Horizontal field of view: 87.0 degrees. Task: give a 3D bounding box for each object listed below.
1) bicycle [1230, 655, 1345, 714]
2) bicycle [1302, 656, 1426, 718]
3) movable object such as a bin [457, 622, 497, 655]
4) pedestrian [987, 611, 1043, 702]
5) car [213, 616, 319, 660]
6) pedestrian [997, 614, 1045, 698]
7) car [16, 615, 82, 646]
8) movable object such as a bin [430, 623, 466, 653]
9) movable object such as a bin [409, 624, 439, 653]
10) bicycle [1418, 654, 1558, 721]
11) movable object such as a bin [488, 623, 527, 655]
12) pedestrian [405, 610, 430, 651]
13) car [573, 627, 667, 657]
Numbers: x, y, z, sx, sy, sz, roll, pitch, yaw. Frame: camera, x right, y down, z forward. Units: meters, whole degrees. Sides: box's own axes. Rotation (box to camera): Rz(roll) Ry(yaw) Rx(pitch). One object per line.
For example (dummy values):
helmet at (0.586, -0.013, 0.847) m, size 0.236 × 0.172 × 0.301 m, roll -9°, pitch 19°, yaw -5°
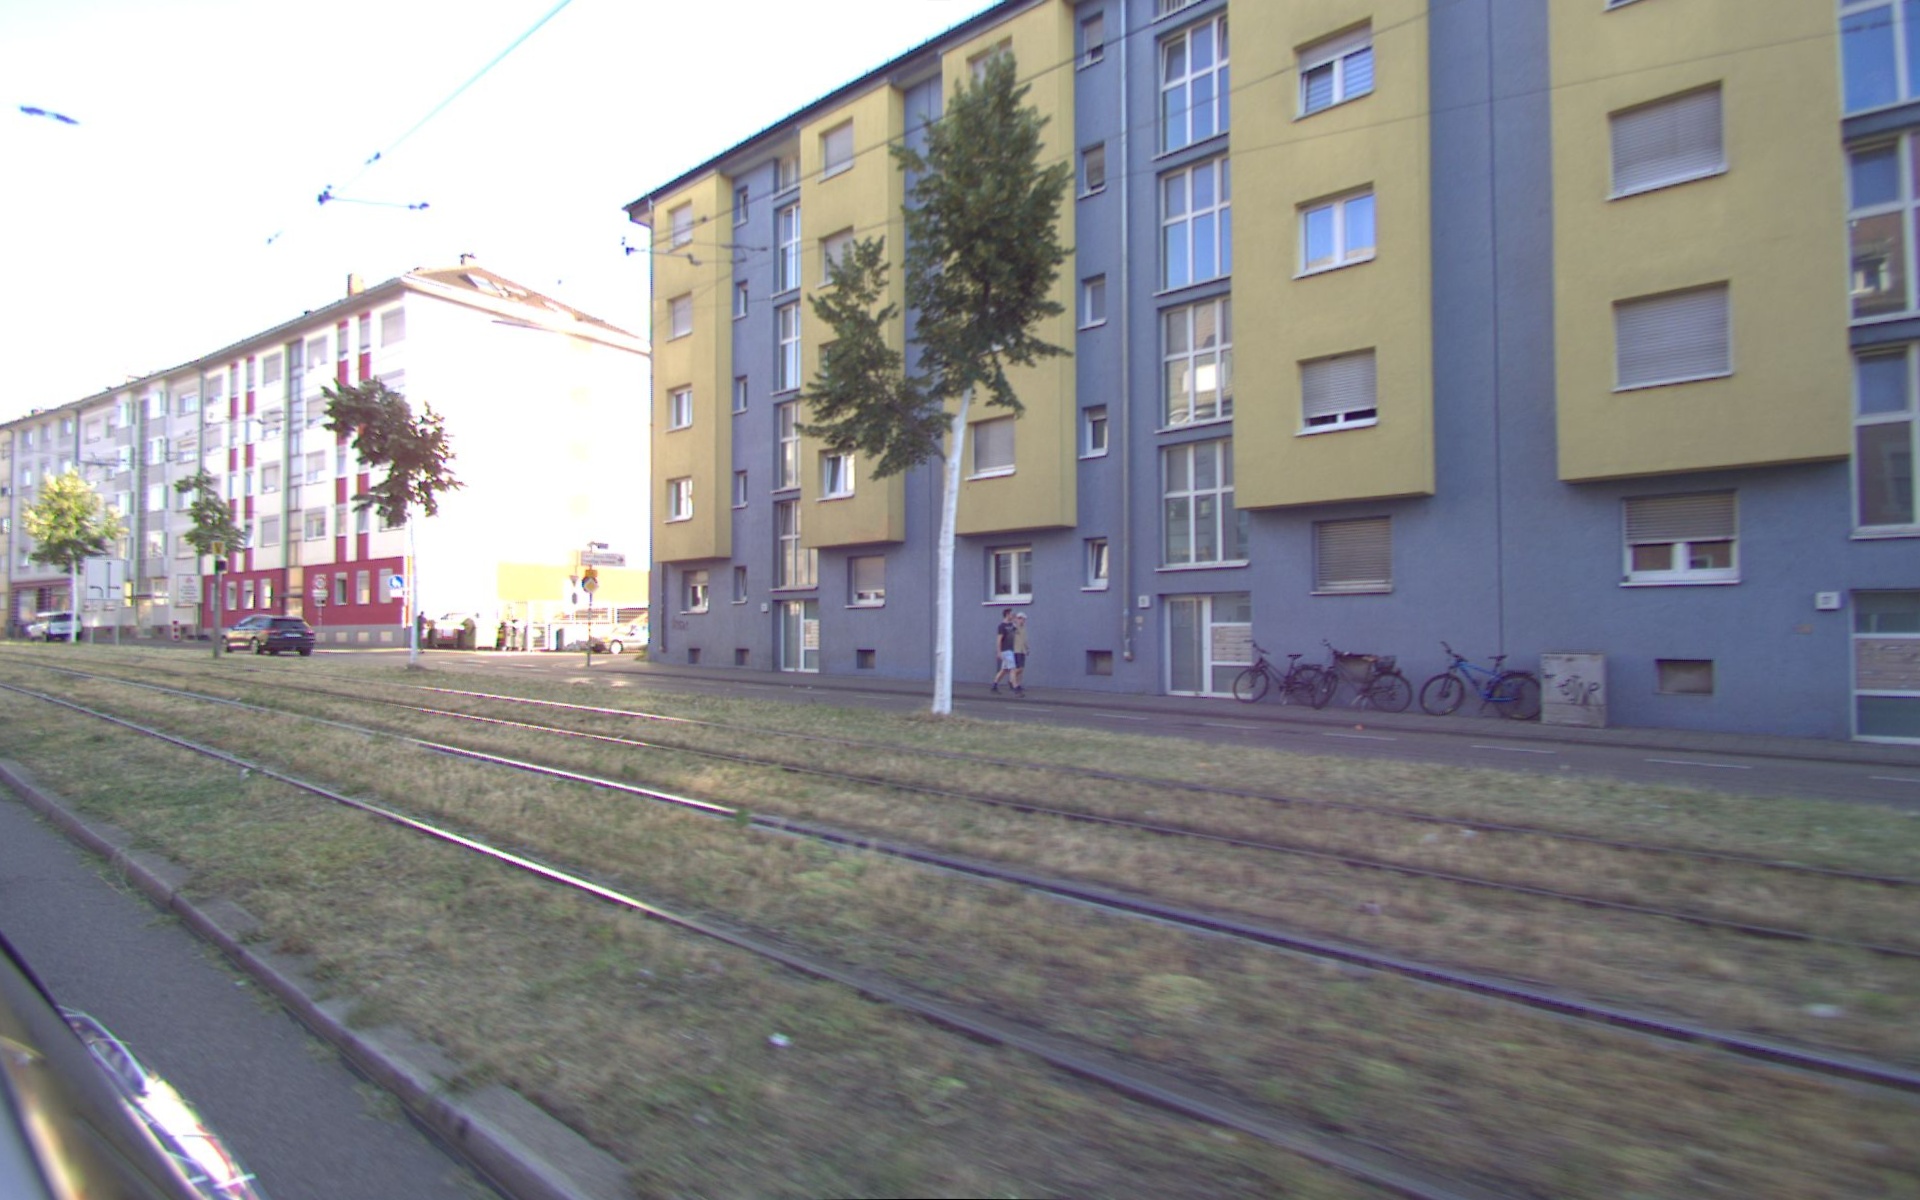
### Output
bicycle at (5.784, 1.475, 17.940) m, size 1.911 × 0.932 × 0.422 m, roll -1°, pitch 1°, yaw 41°
bicycle at (6.838, 1.457, 17.219) m, size 1.911 × 0.932 × 0.422 m, roll -1°, pitch 1°, yaw 41°
movable object such as a bin at (-21.250, 1.679, 44.518) m, size 1.136 × 1.426 × 1.206 m, roll -1°, pitch -2°, yaw 35°
pedestrian at (1.123, 1.147, 20.702) m, size 0.885 × 1.786 × 0.587 m, roll -2°, pitch 1°, yaw 40°
car at (-25.975, 1.407, 37.825) m, size 4.788 × 1.480 × 1.777 m, roll 0°, pitch -4°, yaw 37°
pedestrian at (1.294, 1.178, 21.402) m, size 0.705 × 1.707 × 0.610 m, roll -2°, pitch 2°, yaw 39°
car at (-56.099, 1.888, 62.322) m, size 4.407 × 1.843 × 1.852 m, roll -1°, pitch -2°, yaw 32°
movable object such as a bin at (-22.789, 1.679, 45.045) m, size 0.804 × 1.296 × 1.148 m, roll -1°, pitch -2°, yaw 35°
movable object such as a bin at (-23.395, 1.687, 44.177) m, size 0.804 × 1.235 × 0.858 m, roll -1°, pitch -2°, yaw 35°
bicycle at (8.284, 1.350, 15.934) m, size 1.911 × 0.967 × 0.422 m, roll -1°, pitch -3°, yaw 41°
movable object such as a bin at (-20.413, 1.746, 45.670) m, size 1.106 × 1.426 × 1.206 m, roll -1°, pitch -2°, yaw 35°
pedestrian at (-22.487, 1.272, 41.972) m, size 0.789 × 1.702 × 0.608 m, roll -2°, pitch -2°, yaw 34°
car at (-15.609, 1.912, 46.584) m, size 1.699 × 1.304 × 3.827 m, roll -1°, pitch -2°, yaw 36°
